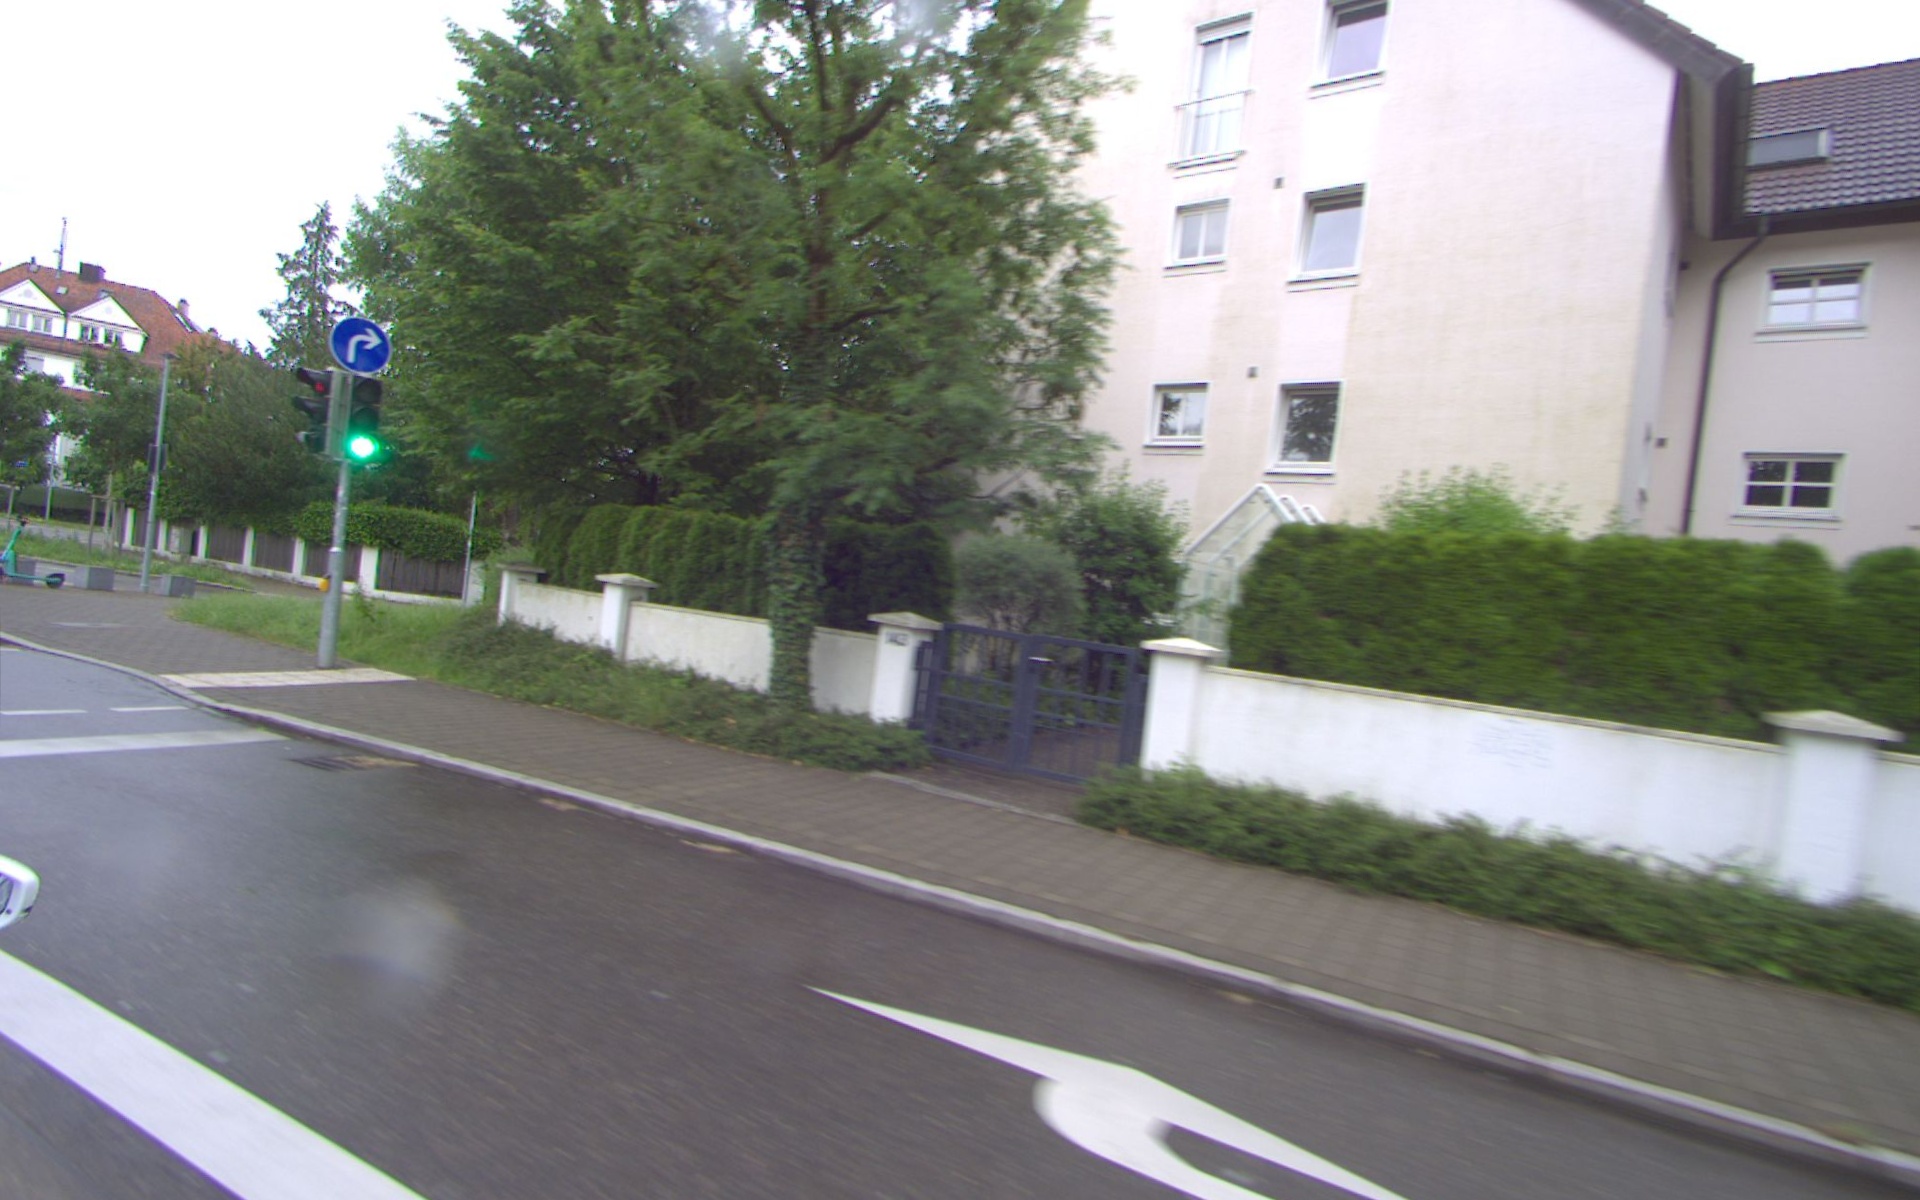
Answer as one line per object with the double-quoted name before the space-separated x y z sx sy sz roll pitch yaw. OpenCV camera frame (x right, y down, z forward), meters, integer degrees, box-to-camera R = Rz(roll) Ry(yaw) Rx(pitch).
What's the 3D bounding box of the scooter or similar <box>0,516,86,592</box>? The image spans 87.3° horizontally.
"scooter or similar" -17.026 -0.839 18.419 0.515 1.220 1.353 6 -2 23
